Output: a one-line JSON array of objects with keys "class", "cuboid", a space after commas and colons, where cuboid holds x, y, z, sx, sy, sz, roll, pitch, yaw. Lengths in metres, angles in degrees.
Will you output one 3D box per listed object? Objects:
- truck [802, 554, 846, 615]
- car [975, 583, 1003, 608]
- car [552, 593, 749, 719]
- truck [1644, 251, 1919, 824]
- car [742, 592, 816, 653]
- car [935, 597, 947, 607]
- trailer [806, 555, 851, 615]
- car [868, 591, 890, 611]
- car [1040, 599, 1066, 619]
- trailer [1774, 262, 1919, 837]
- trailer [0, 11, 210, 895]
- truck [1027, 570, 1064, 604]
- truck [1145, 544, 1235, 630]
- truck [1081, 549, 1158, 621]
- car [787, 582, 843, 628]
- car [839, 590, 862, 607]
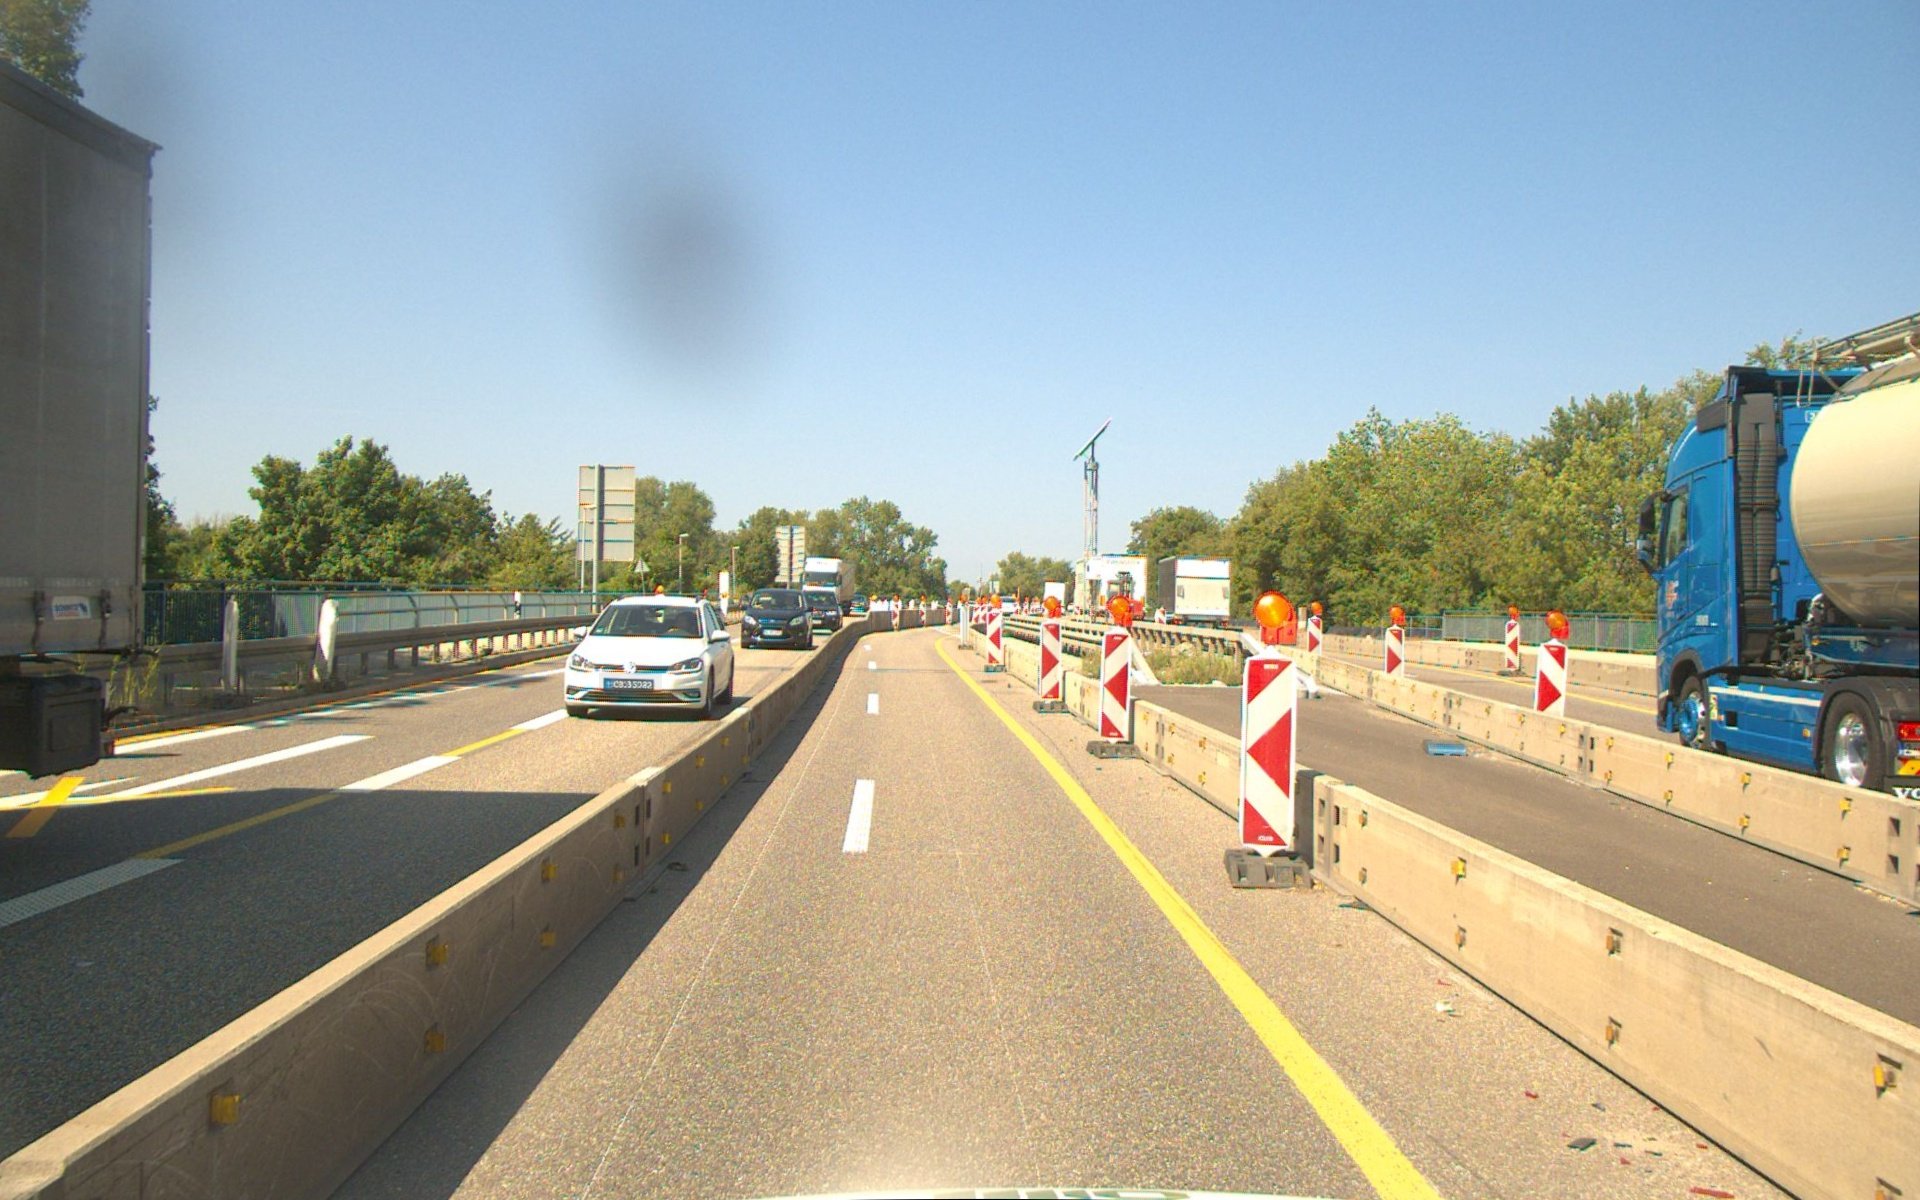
[{"class": "truck", "cuboid": [-9.600, -1.040, 117.352, 2.694, 4.209, 6.413, 0, 0, -2]}, {"class": "car", "cuboid": [2.107, -0.337, 121.149, 1.780, 1.807, 3.998, 0, 0, -2]}, {"class": "car", "cuboid": [-3.868, 0.646, 21.350, 1.777, 1.442, 4.153, 1, 0, -1]}, {"class": "truck", "cuboid": [8.612, -0.451, 14.833, 2.637, 4.174, 7.305, 0, 0, 6]}, {"class": "car", "cuboid": [-4.913, 0.572, 45.241, 1.703, 1.579, 3.941, 1, 0, -2]}, {"class": "car", "cuboid": [-2.748, 0.294, 237.127, 1.702, 1.502, 4.645, 1, 0, 0]}, {"class": "trailer", "cuboid": [-9.804, -1.064, 124.425, 2.705, 4.209, 14.525, 0, 0, -2]}, {"class": "car", "cuboid": [-6.726, 0.057, 137.388, 1.754, 1.596, 3.871, 1, 0, -2]}, {"class": "car", "cuboid": [8.439, 0.837, 150.353, 1.953, 1.807, 3.998, 0, 0, -2]}, {"class": "trailer", "cuboid": [7.971, -0.370, 8.488, 2.637, 4.210, 12.623, 0, 0, 6]}, {"class": "trailer", "cuboid": [-5.775, -0.645, 3.165, 2.746, 4.113, 13.465, 0, 0, -1]}, {"class": "truck", "cuboid": [10.999, -1.629, 213.328, 4.134, 4.341, 10.240, 0, 0, 0]}, {"class": "truck", "cuboid": [9.752, -0.553, 70.761, 2.581, 3.487, 7.230, 1, 0, -2]}, {"class": "truck", "cuboid": [8.827, -0.825, 92.290, 3.320, 3.840, 7.229, 0, 0, -2]}, {"class": "car", "cuboid": [-5.531, 0.181, 63.374, 1.825, 1.660, 4.564, 1, 0, -2]}, {"class": "car", "cuboid": [-10.185, -0.150, 154.518, 1.893, 1.534, 4.468, 1, 0, -1]}]
